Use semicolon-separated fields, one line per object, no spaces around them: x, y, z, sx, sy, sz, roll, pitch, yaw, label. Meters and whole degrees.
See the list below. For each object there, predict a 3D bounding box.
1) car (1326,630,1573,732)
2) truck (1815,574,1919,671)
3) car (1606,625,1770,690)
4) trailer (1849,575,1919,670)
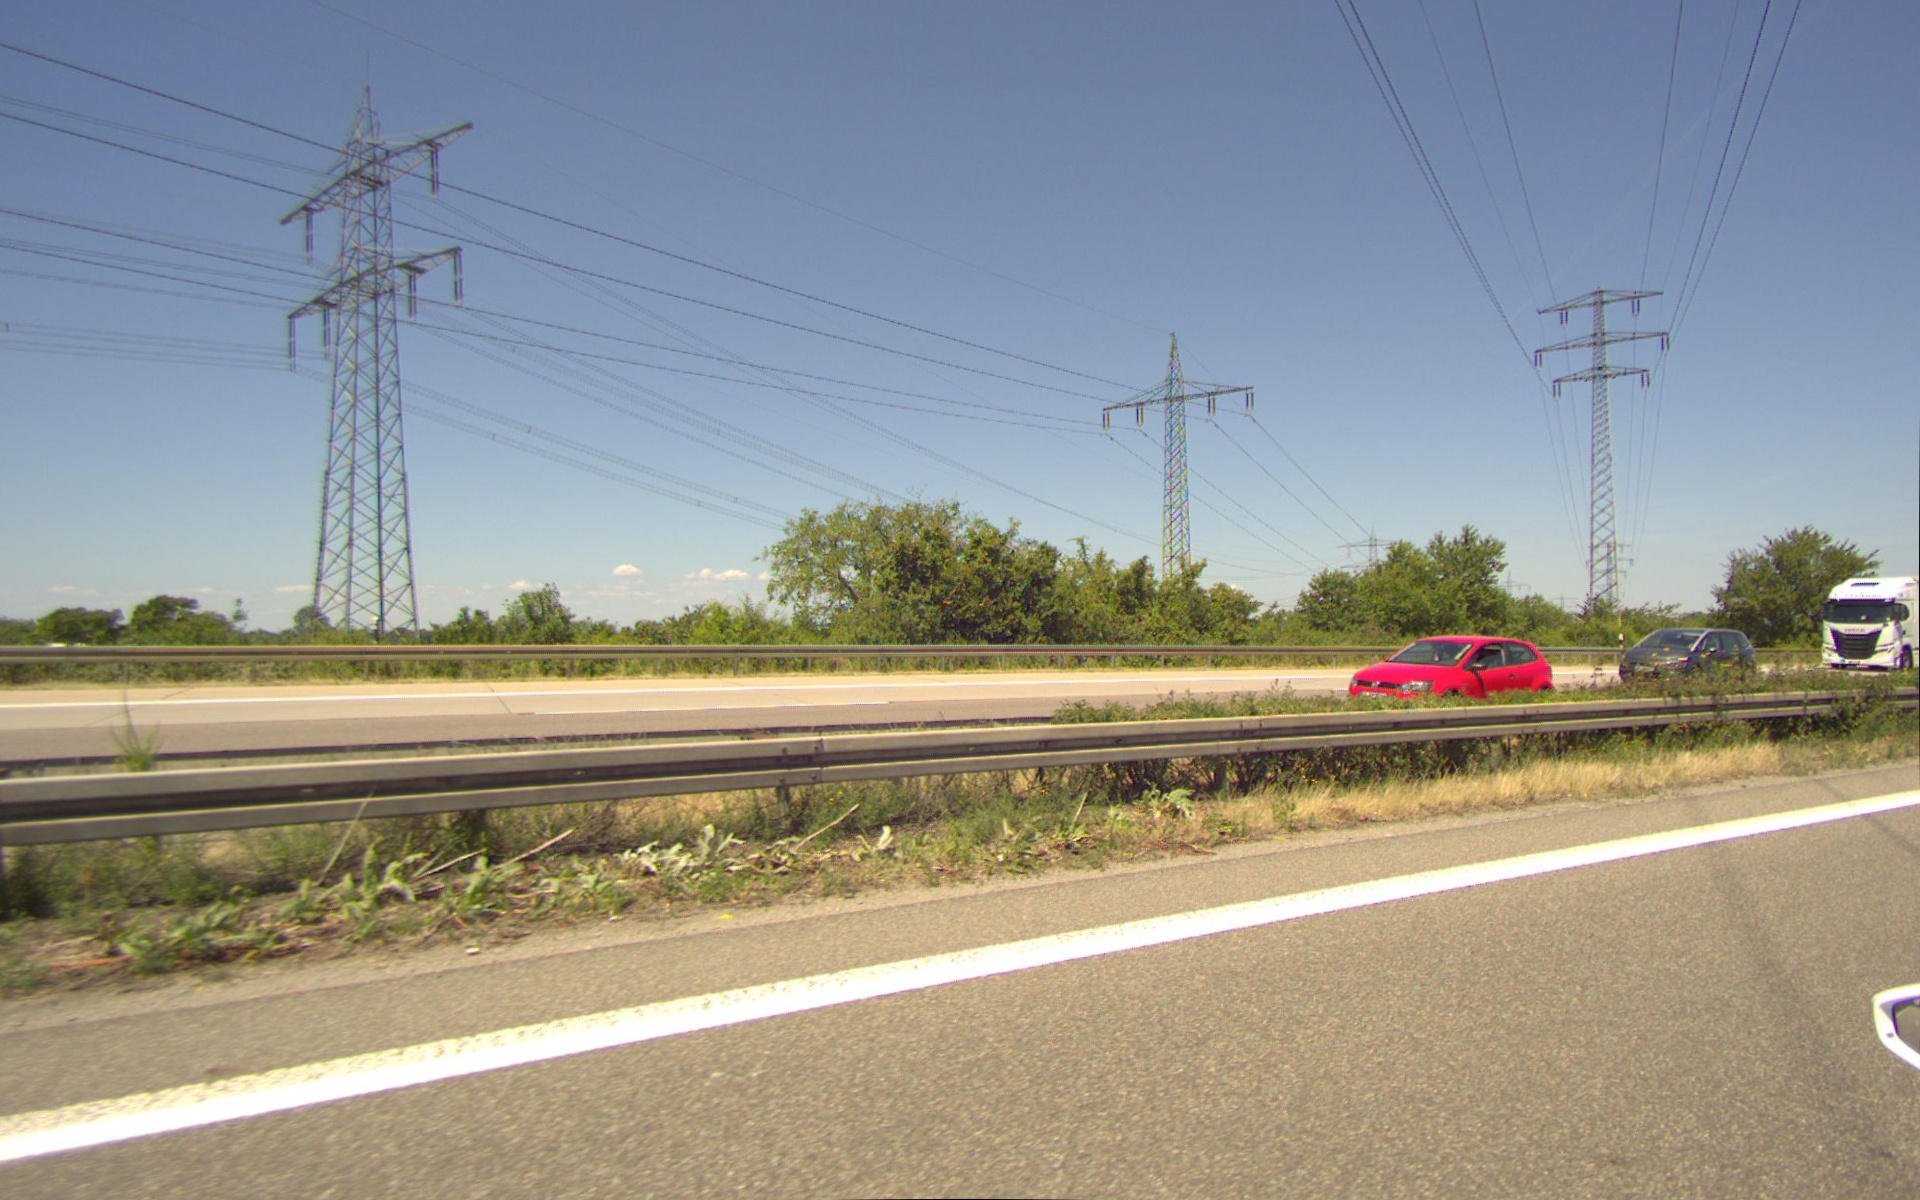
8.246;1.286;16.886;3.914;1.499;1.895;1;-1;-30;car
40.122;0.956;44.048;4.543;4.073;2.472;0;0;-28;truck
20.633;1.581;28.413;4.872;1.695;1.984;1;-1;-30;car
46.865;1.021;47.639;13.413;4.097;2.497;0;0;-28;trailer
